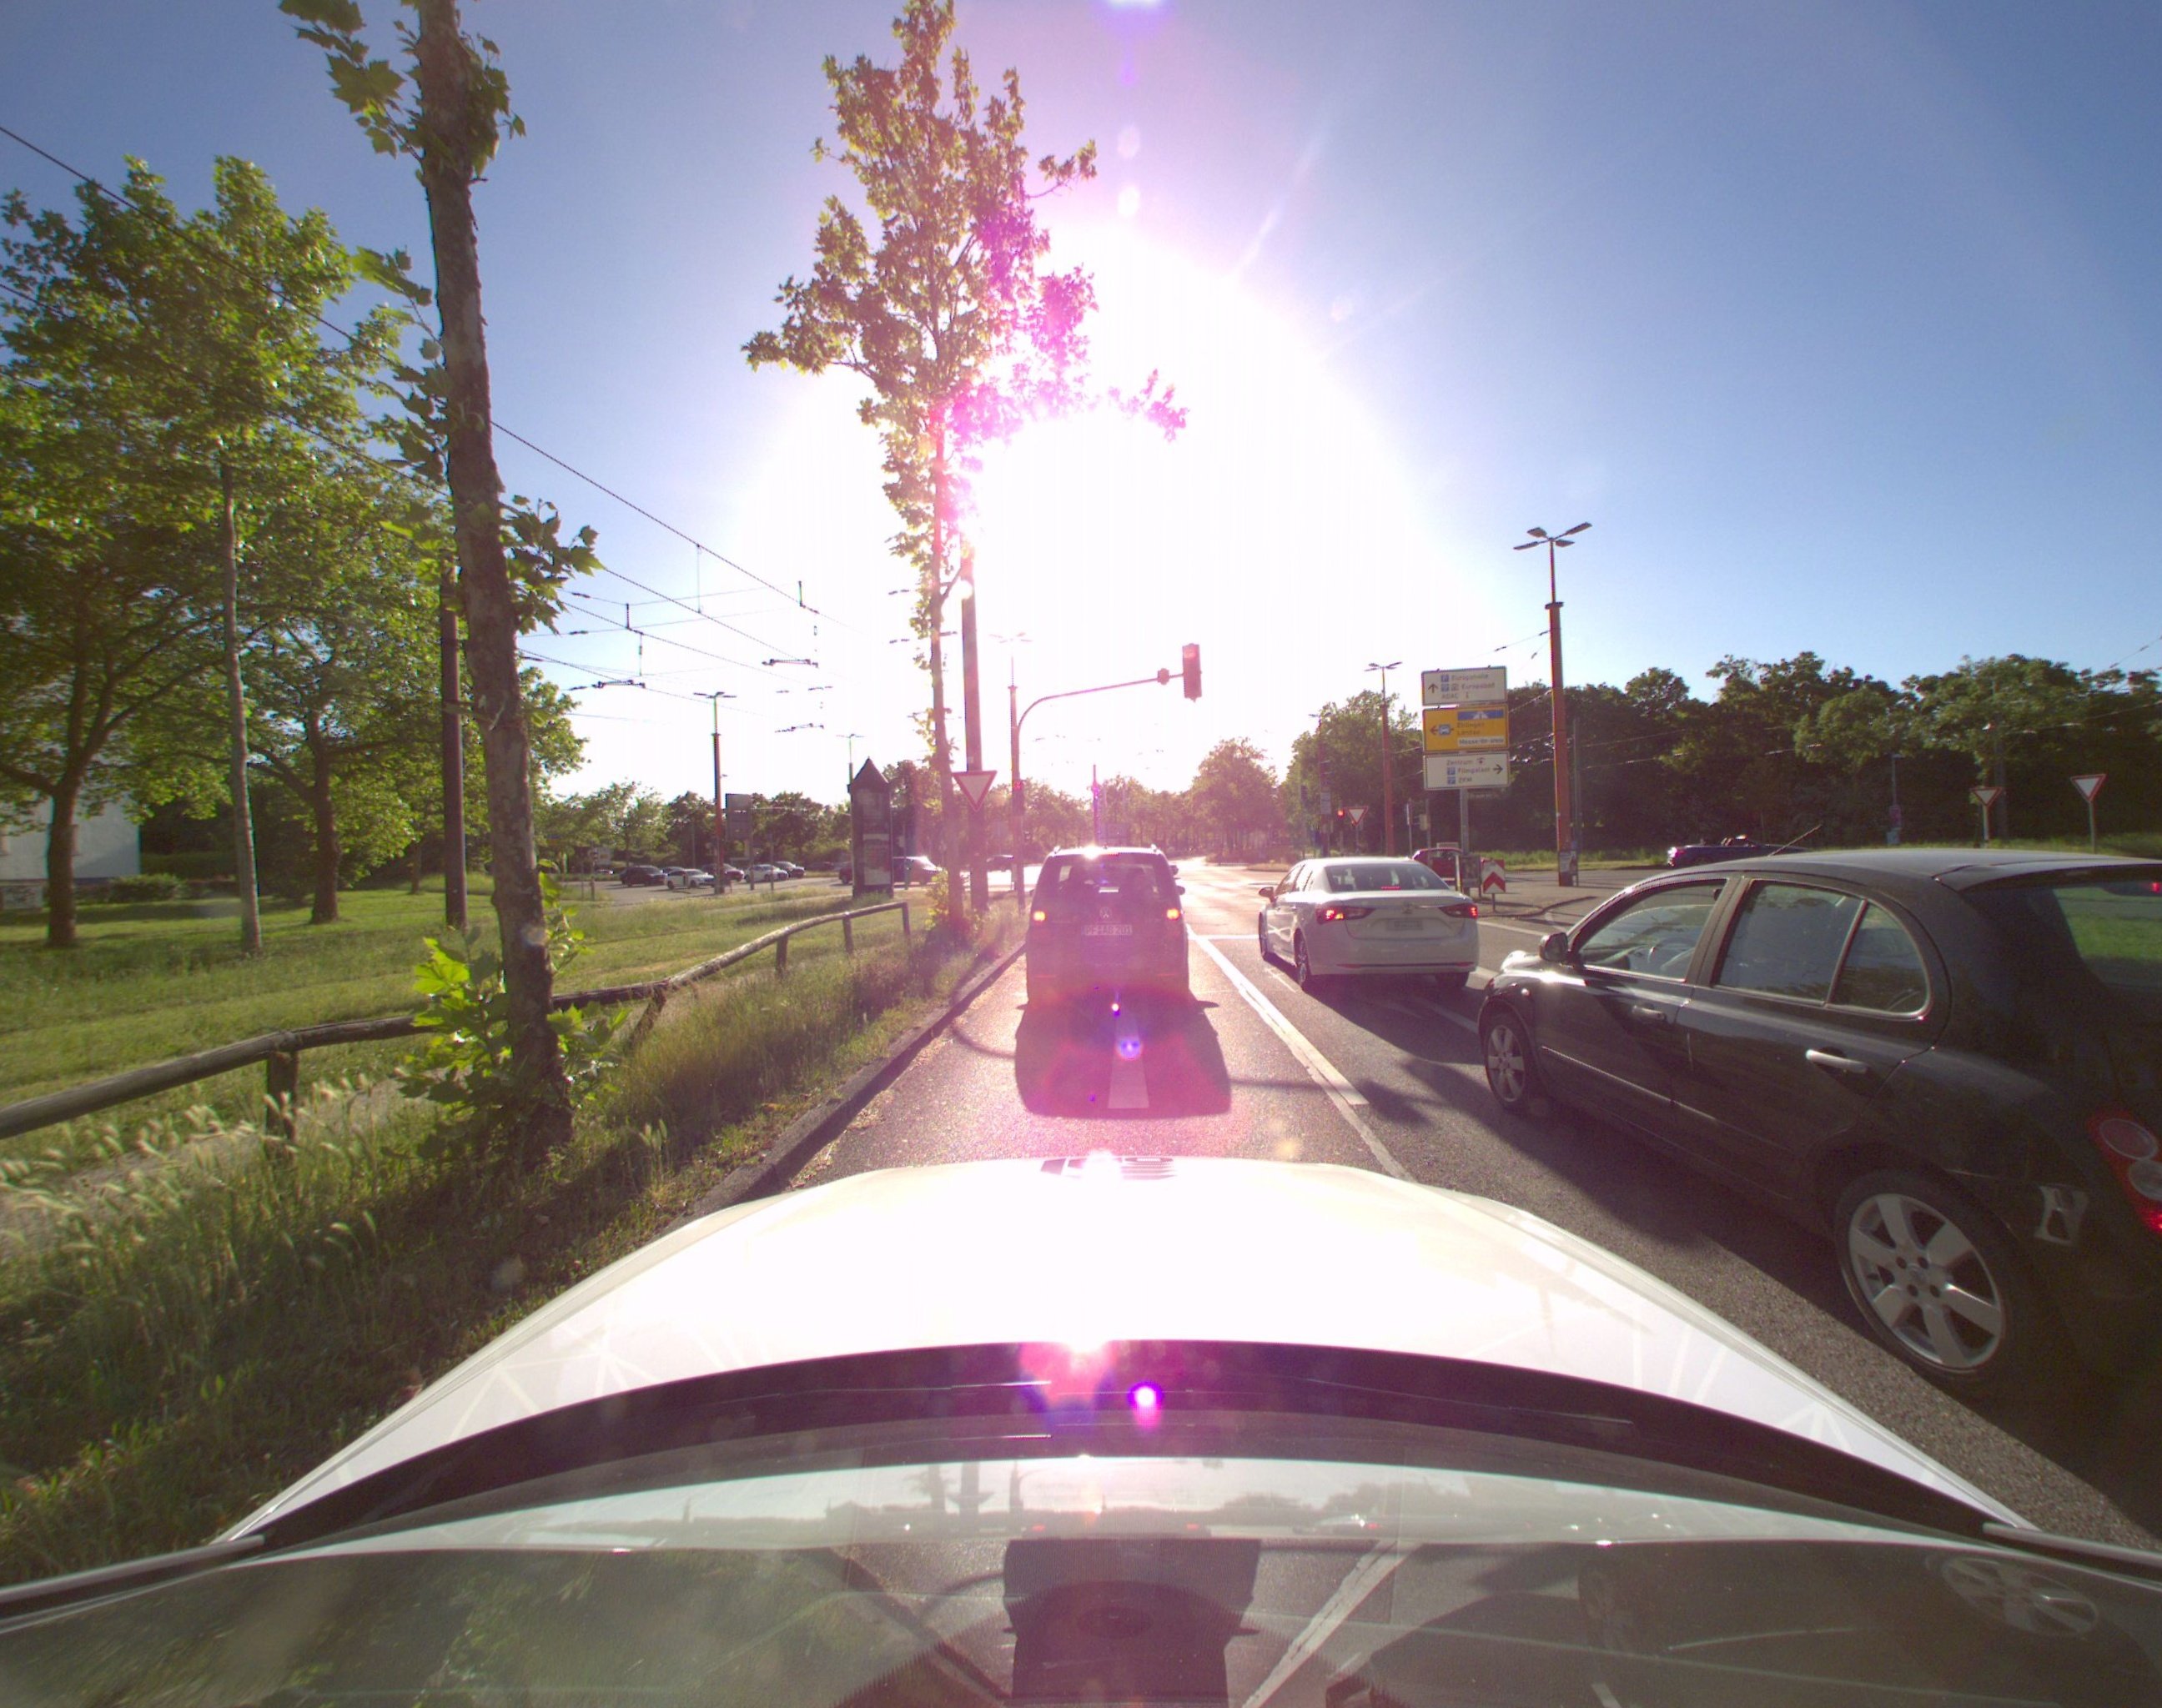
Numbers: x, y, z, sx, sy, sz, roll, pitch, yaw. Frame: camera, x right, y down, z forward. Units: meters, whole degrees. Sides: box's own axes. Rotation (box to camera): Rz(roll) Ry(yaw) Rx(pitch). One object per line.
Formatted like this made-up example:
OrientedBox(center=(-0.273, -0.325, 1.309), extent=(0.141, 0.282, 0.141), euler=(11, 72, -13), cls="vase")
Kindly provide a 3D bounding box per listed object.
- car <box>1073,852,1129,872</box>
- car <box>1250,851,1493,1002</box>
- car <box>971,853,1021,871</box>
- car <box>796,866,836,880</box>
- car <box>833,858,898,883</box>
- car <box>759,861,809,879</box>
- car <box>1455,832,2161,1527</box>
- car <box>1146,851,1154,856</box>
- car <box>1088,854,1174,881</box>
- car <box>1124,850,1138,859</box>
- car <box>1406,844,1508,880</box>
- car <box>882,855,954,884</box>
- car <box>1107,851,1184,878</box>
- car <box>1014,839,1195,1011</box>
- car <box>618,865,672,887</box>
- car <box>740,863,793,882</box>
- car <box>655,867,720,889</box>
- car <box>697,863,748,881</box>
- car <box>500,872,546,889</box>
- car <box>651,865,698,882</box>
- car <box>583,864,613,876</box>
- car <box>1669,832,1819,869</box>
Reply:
OrientedBox(center=(1.706, 0.727, 71.098), extent=(4.411, 1.596, 2.012), euler=(-2, 0, 28), cls="car")
OrientedBox(center=(3.298, 0.720, 10.118), extent=(1.708, 1.454, 4.147), euler=(-2, 0, 3), cls="car")
OrientedBox(center=(-8.302, 0.799, 79.700), extent=(4.411, 1.596, 2.012), euler=(-2, 0, 28), cls="car")
OrientedBox(center=(-32.015, 2.295, 98.233), extent=(4.412, 1.596, 2.012), euler=(-2, 0, 26), cls="car")
OrientedBox(center=(-15.586, 1.179, 58.843), extent=(4.507, 1.668, 1.854), euler=(-2, 0, 30), cls="car")
OrientedBox(center=(-26.531, 1.449, 72.658), extent=(4.169, 1.464, 1.926), euler=(-2, 0, 29), cls="car")
OrientedBox(center=(3.168, 0.694, 3.514), extent=(1.550, 1.506, 3.517), euler=(-2, 0, 2), cls="car")
OrientedBox(center=(16.694, -0.095, 196.548), extent=(1.649, 1.310, 3.823), euler=(-2, 0, 7), cls="car")
OrientedBox(center=(2.705, 0.756, 44.302), extent=(4.263, 1.327, 1.772), euler=(-2, 0, 31), cls="car")
OrientedBox(center=(10.130, 0.154, 164.338), extent=(1.979, 1.684, 4.846), euler=(-2, 0, 13), cls="car")
OrientedBox(center=(16.658, 0.344, 36.090), extent=(3.949, 1.494, 1.782), euler=(-2, 0, 29), cls="car")
OrientedBox(center=(-10.424, 1.009, 52.098), extent=(4.302, 1.732, 1.854), euler=(-2, 0, 30), cls="car")
OrientedBox(center=(3.802, 0.603, 48.129), extent=(4.179, 1.479, 1.765), euler=(-2, 0, 32), cls="car")
OrientedBox(center=(0.297, 0.697, 9.990), extent=(1.731, 1.641, 4.002), euler=(-2, 0, 2), cls="car")
OrientedBox(center=(-38.680, 1.921, 72.166), extent=(4.735, 1.836, 1.926), euler=(-2, 0, 29), cls="car")
OrientedBox(center=(-26.770, 1.592, 69.253), extent=(4.169, 1.464, 1.926), euler=(-2, 0, 29), cls="car")
OrientedBox(center=(-30.411, 1.892, 62.968), extent=(4.867, 1.575, 2.012), euler=(-2, 0, 28), cls="car")
OrientedBox(center=(-31.717, 1.569, 72.073), extent=(4.318, 1.464, 1.926), euler=(-2, 0, 29), cls="car")
OrientedBox(center=(-56.468, 2.687, 82.368), extent=(4.735, 1.598, 1.926), euler=(-2, 0, 29), cls="car")
OrientedBox(center=(-37.353, 1.774, 74.843), extent=(4.004, 1.464, 1.926), euler=(-2, 0, 28), cls="car")
OrientedBox(center=(-67.573, 2.237, 113.972), extent=(3.949, 1.580, 1.872), euler=(-2, 0, 29), cls="car")
OrientedBox(center=(27.496, -0.134, 34.003), extent=(4.608, 1.362, 1.782), euler=(-2, 0, 31), cls="car")
